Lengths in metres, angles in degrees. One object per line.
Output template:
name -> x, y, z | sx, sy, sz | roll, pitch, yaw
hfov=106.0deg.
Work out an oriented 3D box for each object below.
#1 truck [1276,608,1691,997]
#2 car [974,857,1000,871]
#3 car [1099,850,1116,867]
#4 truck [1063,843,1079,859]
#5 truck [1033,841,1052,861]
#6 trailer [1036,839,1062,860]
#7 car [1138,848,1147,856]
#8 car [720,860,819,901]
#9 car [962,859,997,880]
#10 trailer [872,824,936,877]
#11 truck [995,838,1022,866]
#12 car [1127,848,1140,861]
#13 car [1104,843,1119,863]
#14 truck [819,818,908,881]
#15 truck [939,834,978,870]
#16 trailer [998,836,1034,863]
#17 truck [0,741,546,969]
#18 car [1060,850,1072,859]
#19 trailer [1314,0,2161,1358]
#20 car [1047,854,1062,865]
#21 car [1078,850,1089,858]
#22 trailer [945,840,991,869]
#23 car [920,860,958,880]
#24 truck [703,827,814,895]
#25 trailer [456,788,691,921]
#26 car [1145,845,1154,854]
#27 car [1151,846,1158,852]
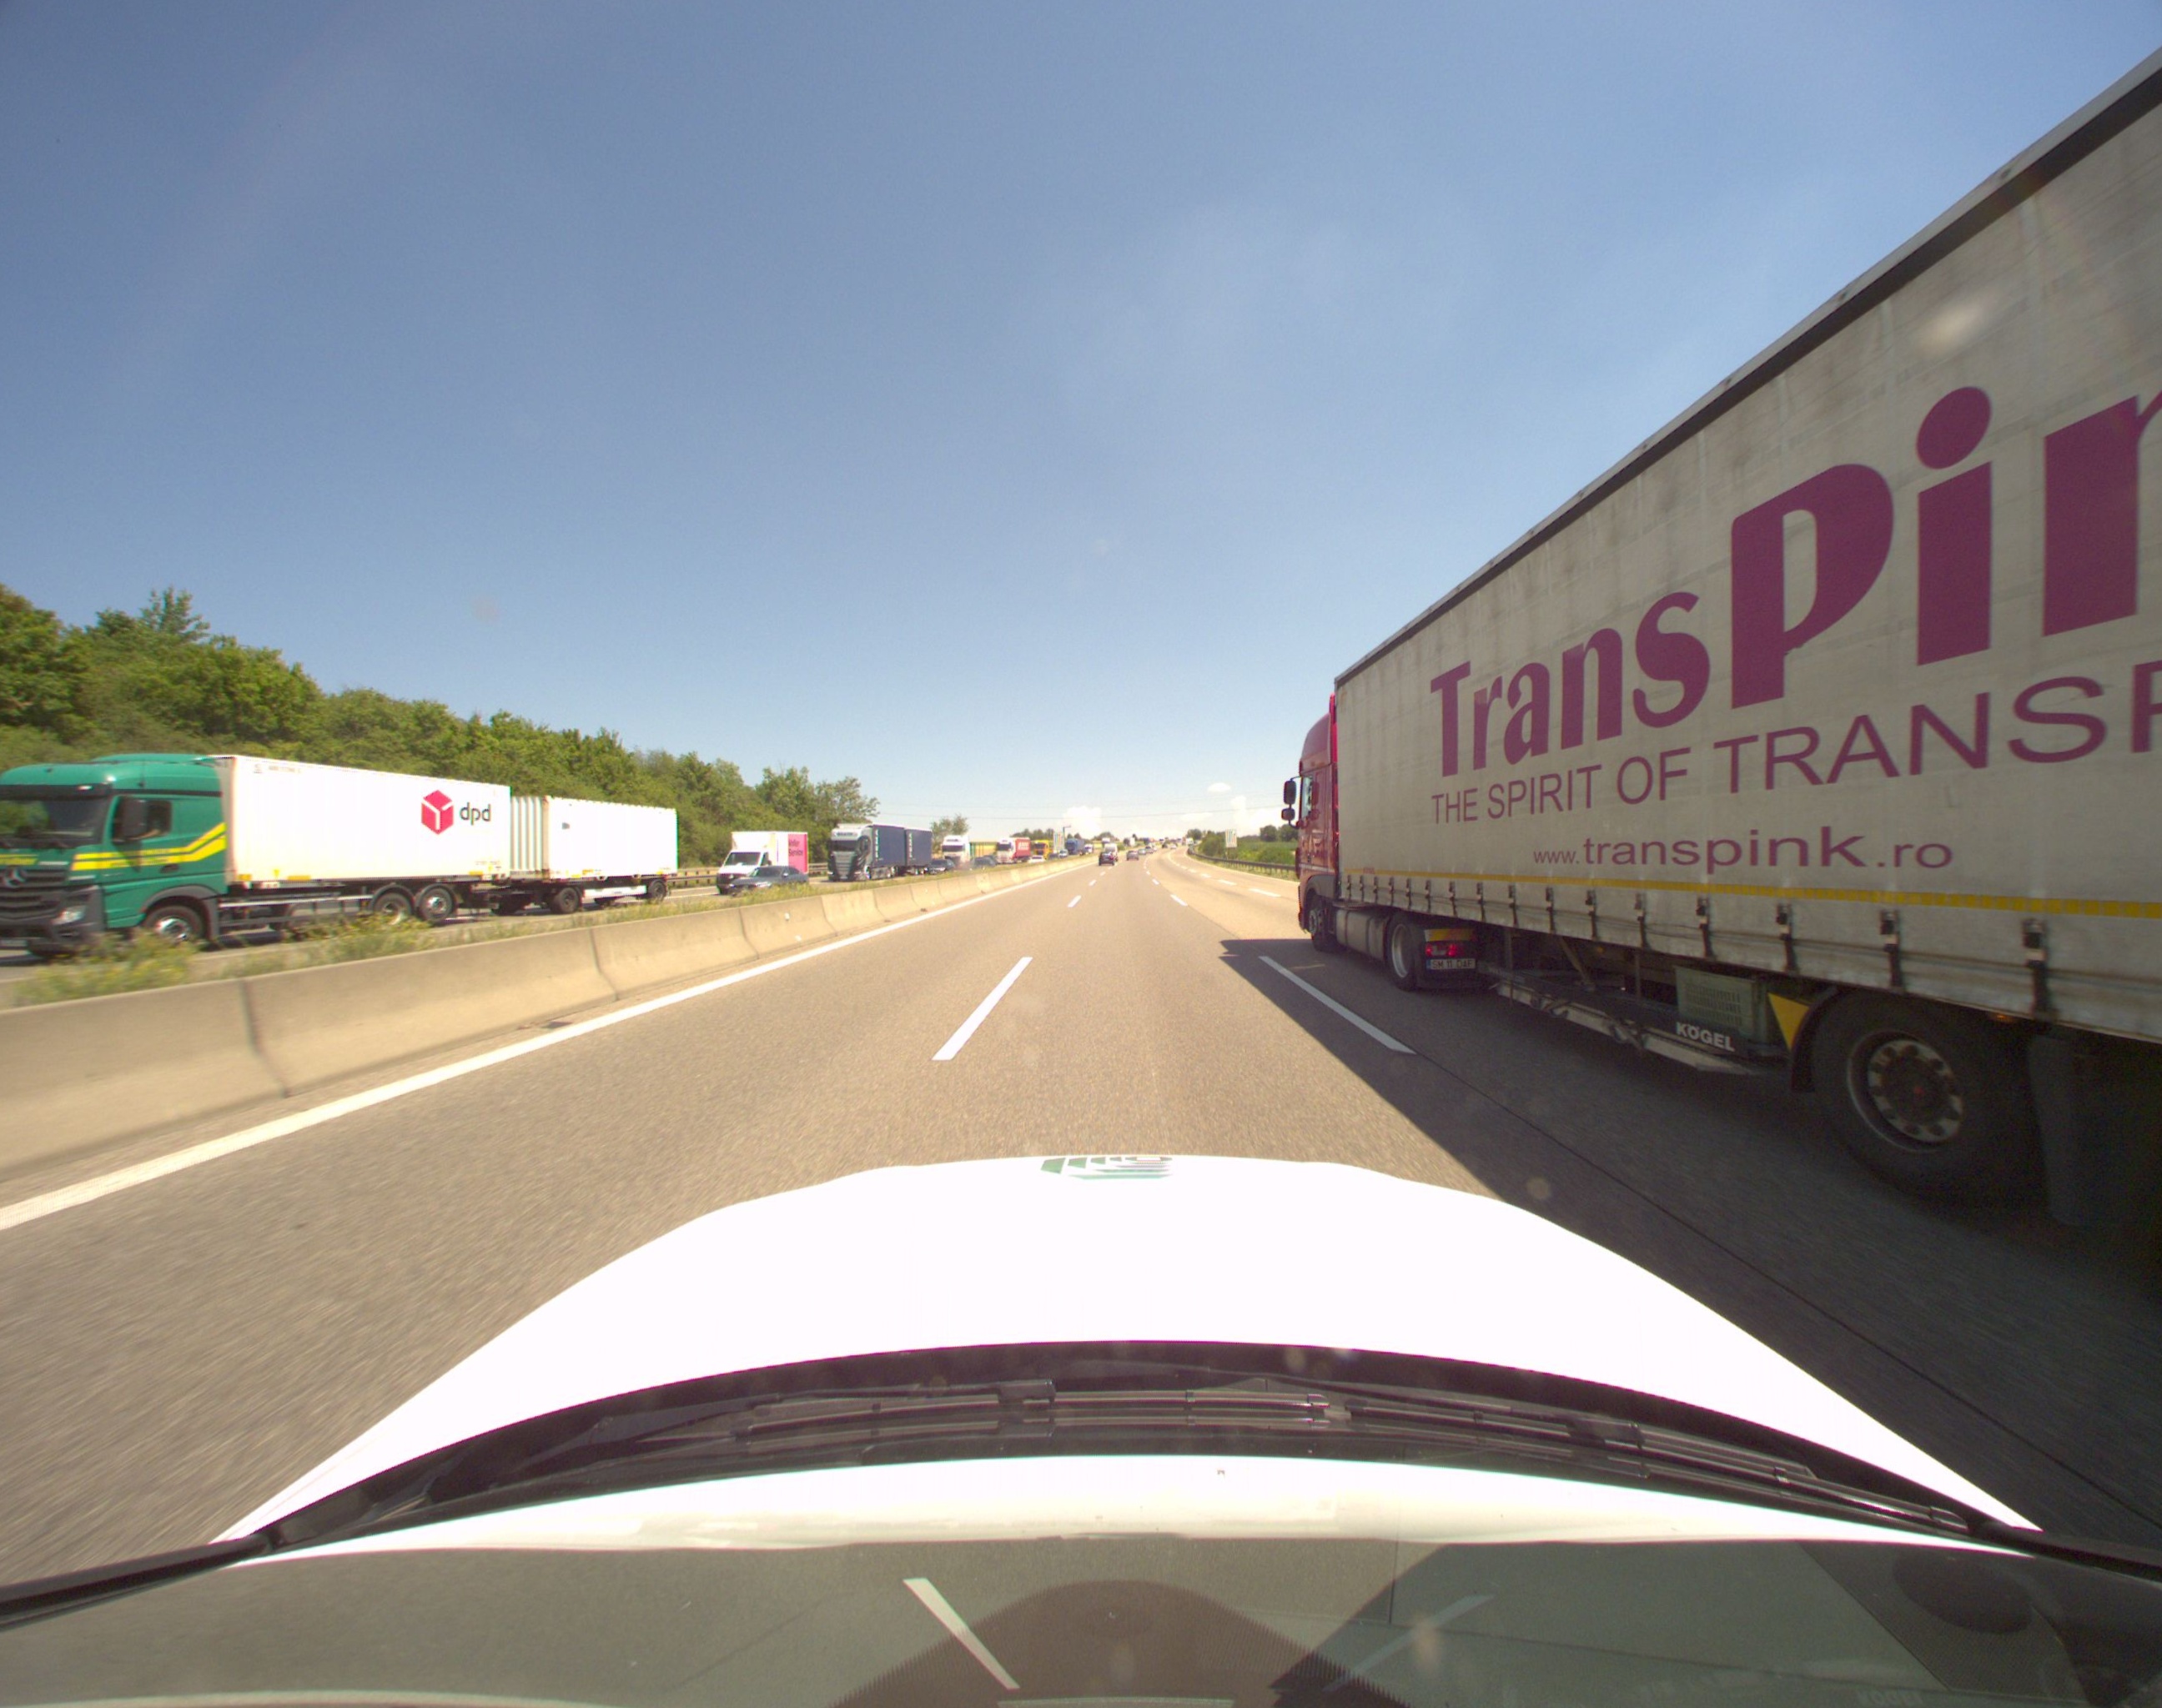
truck -> 4.939, -0.508, 11.711 | 2.905, 4.009, 6.514 | -1, -1, 2
car -> -10.452, 1.107, 90.661 | 1.985, 1.455, 5.174 | -1, 0, 3
car -> 3.088, 0.516, 94.429 | 1.841, 1.861, 4.207 | -1, 1, 1
truck -> -2.423, -0.782, 205.464 | 3.060, 4.089, 6.949 | -1, 0, 7
truck -> -7.634, -0.678, 162.460 | 2.736, 3.837, 7.112 | -1, 1, 7
trailer -> -6.613, -0.971, 170.118 | 2.937, 4.100, 14.411 | -1, 1, 7
car -> 13.543, -0.360, 179.164 | 1.984, 1.585, 4.006 | -2, -1, 5
car -> -13.359, 1.079, 35.328 | 1.986, 1.545, 5.497 | -1, 0, 2
car -> -8.179, 1.221, 65.886 | 1.985, 1.527, 4.776 | -1, 0, 3
trailer -> -15.110, -0.317, 70.333 | 2.972, 4.192, 8.605 | -1, 0, 4
truck -> -10.983, -0.347, 124.138 | 3.021, 4.081, 6.324 | -1, 0, 5
car -> 8.137, 0.084, 126.788 | 1.985, 1.750, 4.003 | -1, -2, 4
car -> 4.481, -0.110, 118.929 | 2.171, 2.625, 4.674 | -1, -2, 2
truck -> -15.894, -0.316, 60.573 | 2.988, 4.234, 10.745 | -1, 0, 4
truck -> -13.633, -0.203, 91.097 | 2.888, 3.876, 6.185 | -1, 0, 4
trailer -> -10.328, -0.743, 131.003 | 3.070, 4.100, 14.406 | -1, 0, 6
truck -> -18.388, 0.032, 19.783 | 2.831, 3.899, 11.254 | -2, 0, 3
car -> -2.999, 0.080, 164.646 | 1.905, 1.772, 4.767 | -1, 0, 4
trailer -> 4.743, -0.550, 5.162 | 2.907, 4.117, 13.862 | -1, 0, 2
car -> -3.984, 0.859, 121.969 | 1.830, 1.583, 4.559 | -1, 0, 4
car -> 0.504, -0.013, 173.876 | 2.040, 1.696, 5.261 | -1, 0, 4
trailer -> -13.249, -0.024, 96.818 | 2.845, 3.206, 12.798 | -1, 0, 4
car -> -11.434, 1.251, 65.719 | 1.985, 1.527, 4.776 | -1, 0, 3
truck -> -16.785, 0.336, 43.014 | 2.528, 3.207, 7.593 | -1, 0, 2
trailer -> -17.877, 0.020, 29.637 | 2.908, 4.071, 8.237 | -2, 0, 3
car -> 16.822, -1.055, 199.346 | 1.985, 1.904, 4.003 | -1, -2, 3
car -> 20.711, -1.454, 229.192 | 1.982, 1.552, 4.010 | 0, 1, 8
